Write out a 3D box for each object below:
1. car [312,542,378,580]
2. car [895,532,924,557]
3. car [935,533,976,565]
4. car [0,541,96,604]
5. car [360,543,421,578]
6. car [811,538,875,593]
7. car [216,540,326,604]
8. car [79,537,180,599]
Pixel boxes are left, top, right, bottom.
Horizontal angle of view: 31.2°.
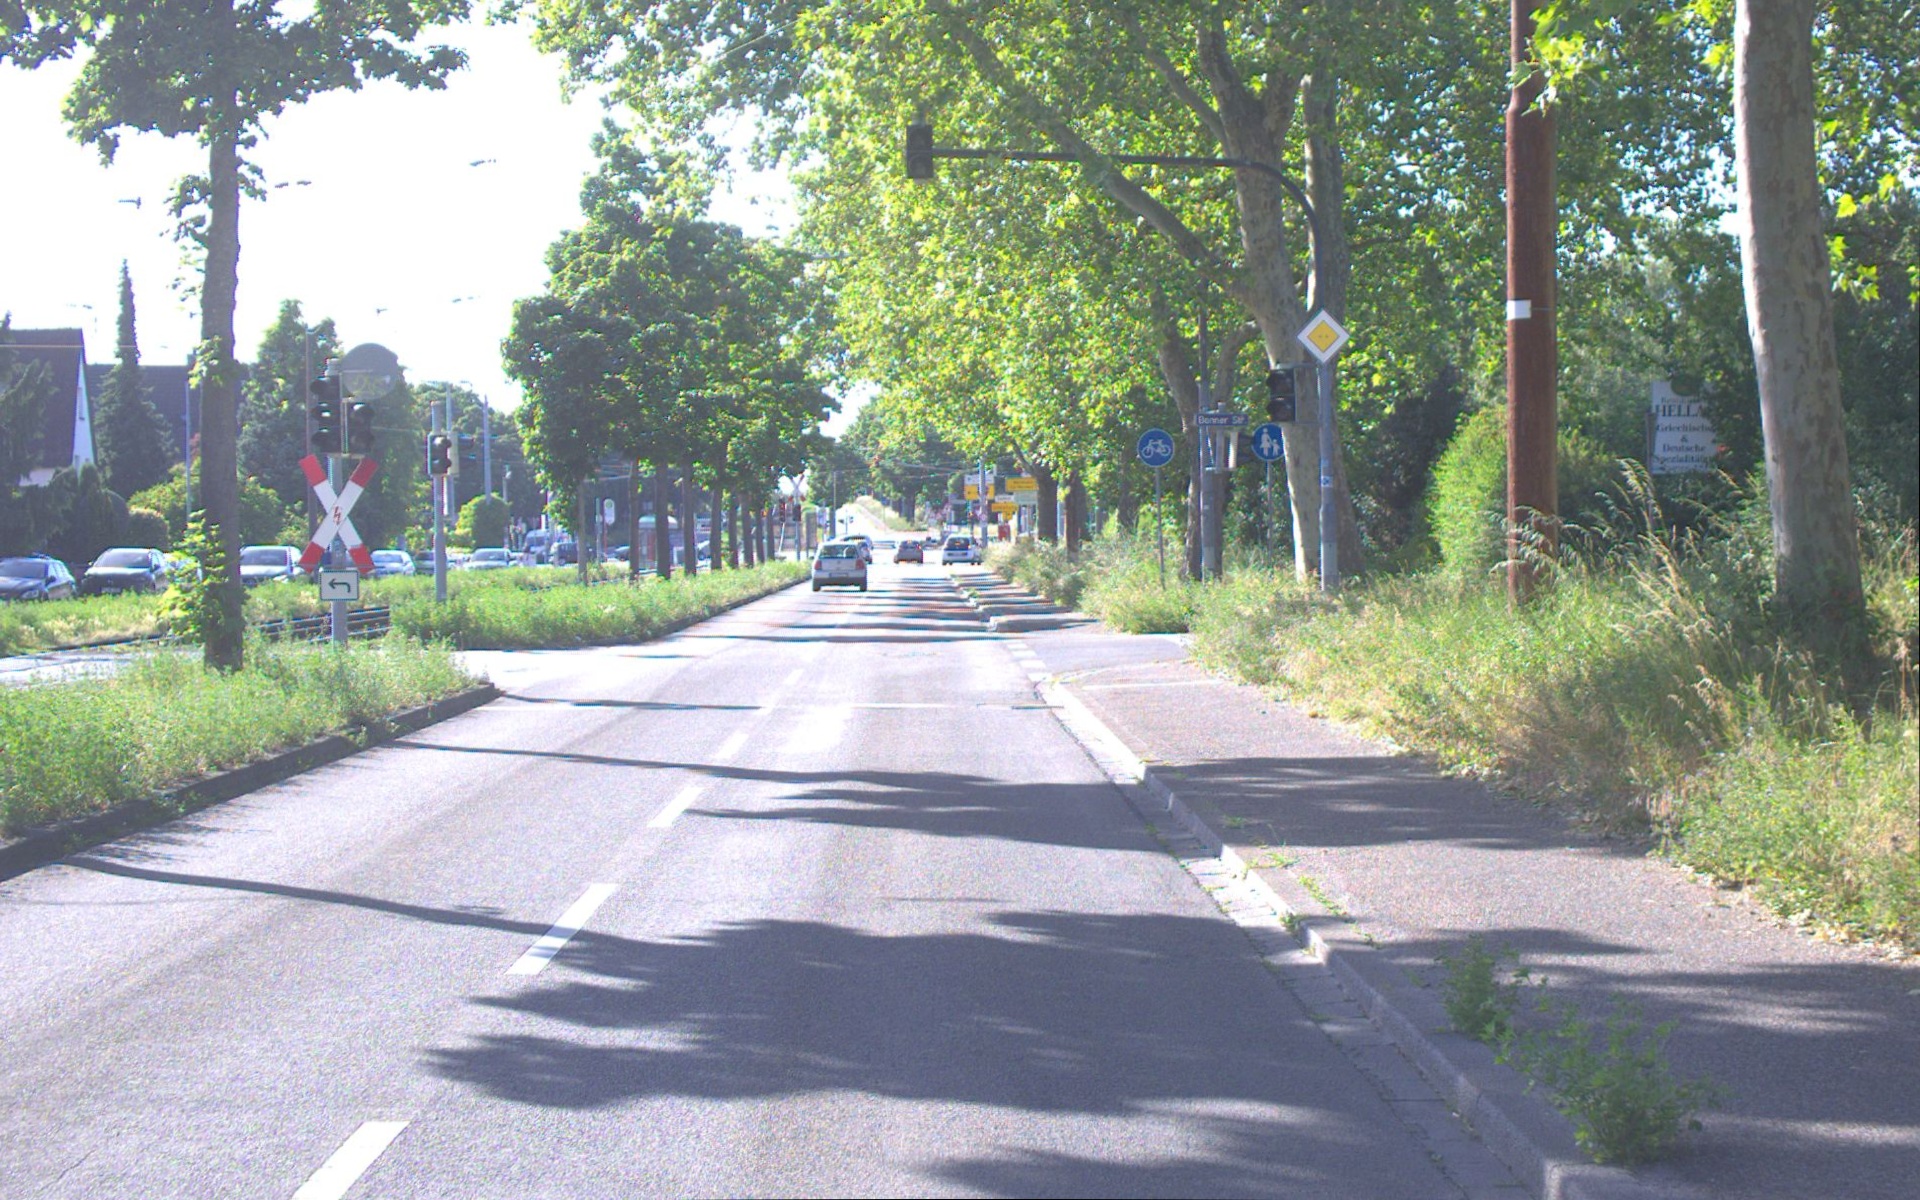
[{"bbox_3d":[-23.543,-1.507,131.786,1.860,1.408,4.159,0,1,-1],"label":"car"},{"bbox_3d":[-3.105,-3.409,211.690,1.791,1.553,4.228,0,1,-1],"label":"car"},{"bbox_3d":[-0.239,-2.623,175.618,1.993,1.598,4.474,0,1,-1],"label":"car"},{"bbox_3d":[-22.102,-0.673,82.353,1.729,1.461,4.603,0,1,-1],"label":"car"},{"bbox_3d":[-23.463,-1.651,141.821,1.860,1.426,4.462,0,1,-1],"label":"car"},{"bbox_3d":[-3.469,-1.039,102.407,1.860,1.595,4.228,0,1,-1],"label":"car"},{"bbox_3d":[-17.610,-0.734,88.081,1.993,1.598,4.474,0,1,-1],"label":"car"},{"bbox_3d":[-22.631,-0.884,93.828,1.748,1.645,4.555,0,1,-1],"label":"car"}]
